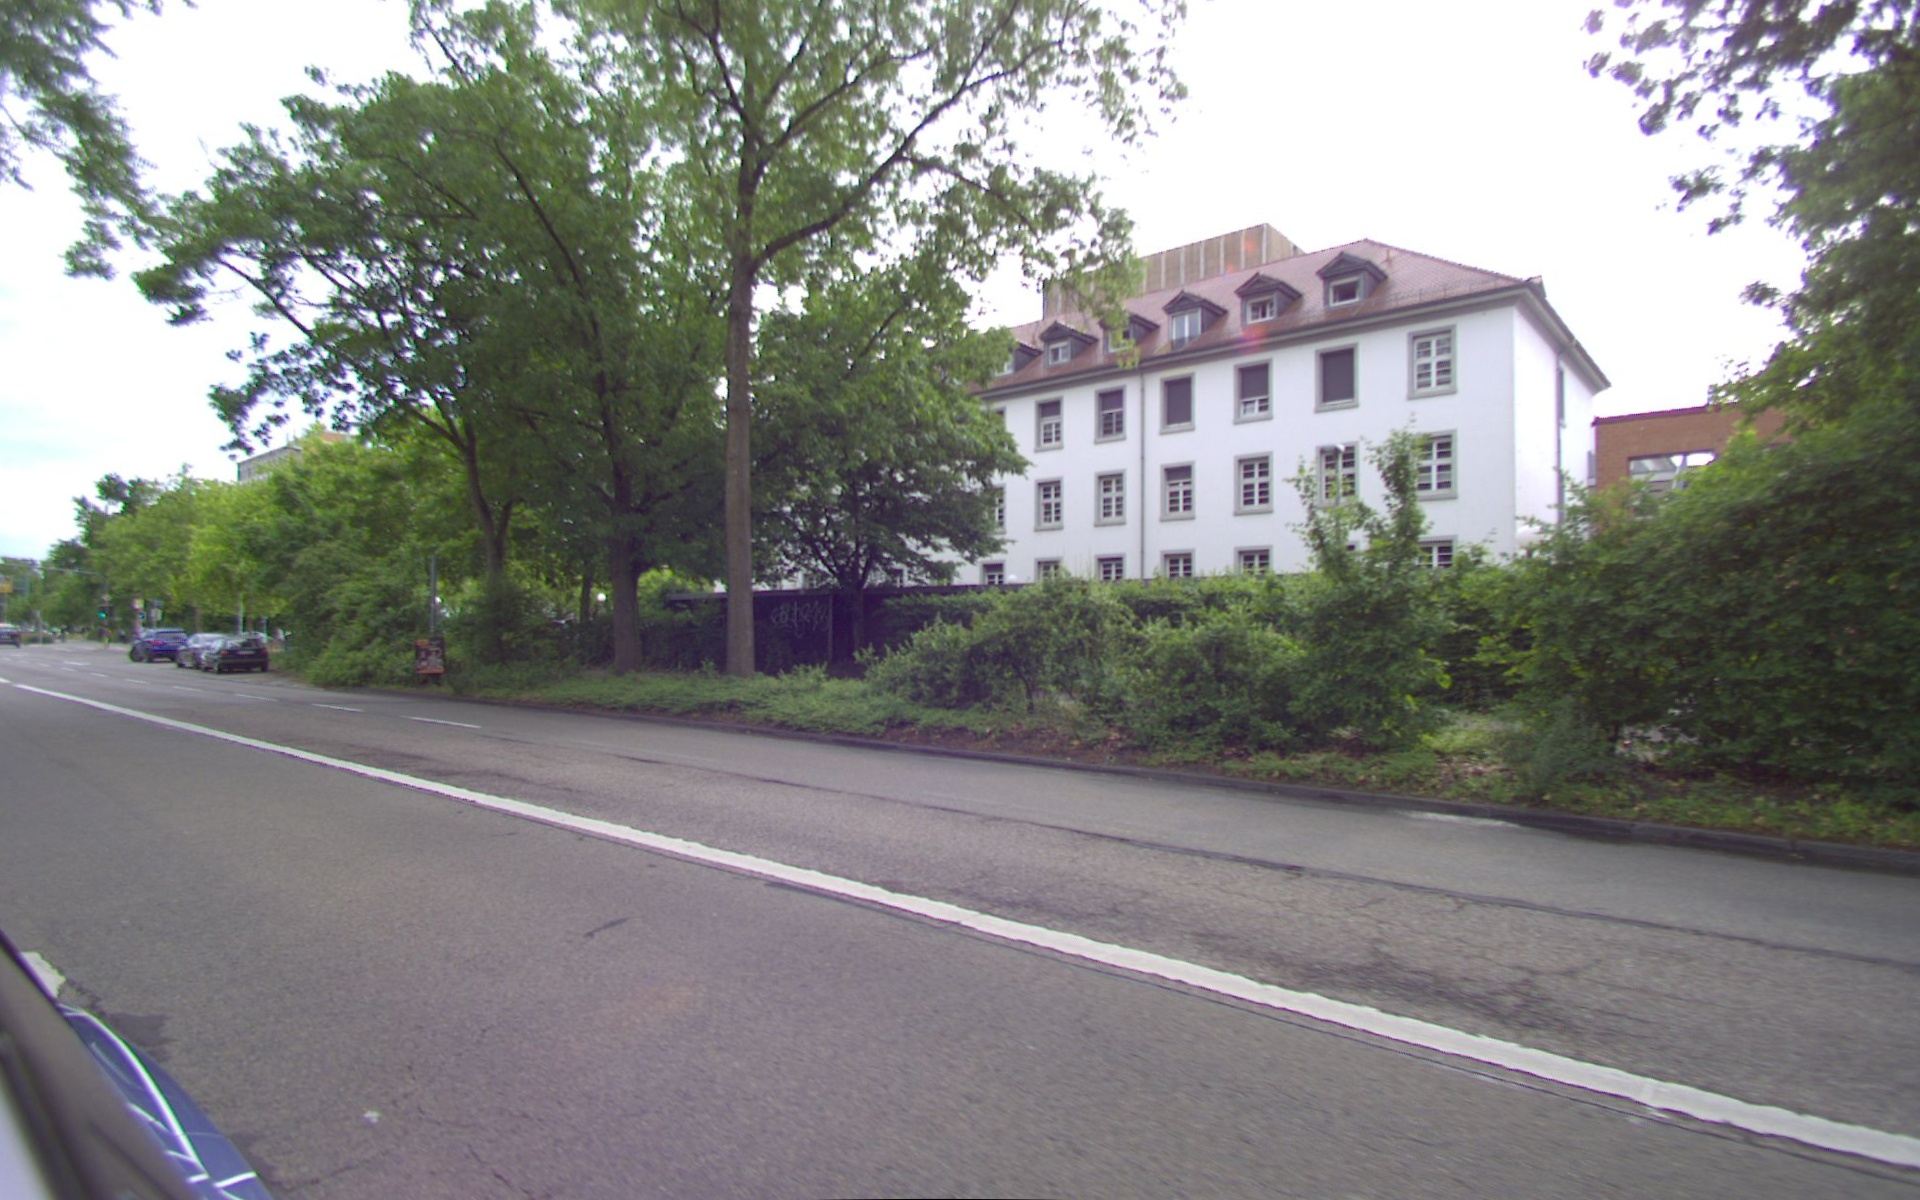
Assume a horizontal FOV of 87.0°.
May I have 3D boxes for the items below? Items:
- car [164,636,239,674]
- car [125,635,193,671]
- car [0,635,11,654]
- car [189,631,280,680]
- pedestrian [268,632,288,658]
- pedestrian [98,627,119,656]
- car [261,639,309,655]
[{"bbox_3d":[-32.038,2.302,42.712,4.730,1.435,1.853,-2,-1,45],"label":"car"},{"bbox_3d":[-38.363,2.496,48.434,4.592,1.620,1.839,-2,-2,42],"label":"car"},{"bbox_3d":[-96.331,4.413,101.396,1.750,1.862,4.493,0,-2,-43],"label":"car"},{"bbox_3d":[-27.686,2.076,38.569,3.998,1.702,1.973,-2,-1,41],"label":"car"},{"bbox_3d":[-52.759,3.490,78.323,1.091,2.029,0.789,-1,-3,24],"label":"pedestrian"},{"bbox_3d":[-59.844,2.937,71.118,1.008,2.029,0.885,-2,-3,39],"label":"pedestrian"},{"bbox_3d":[-65.393,4.549,98.087,1.861,1.461,3.548,-2,-2,40],"label":"car"}]
